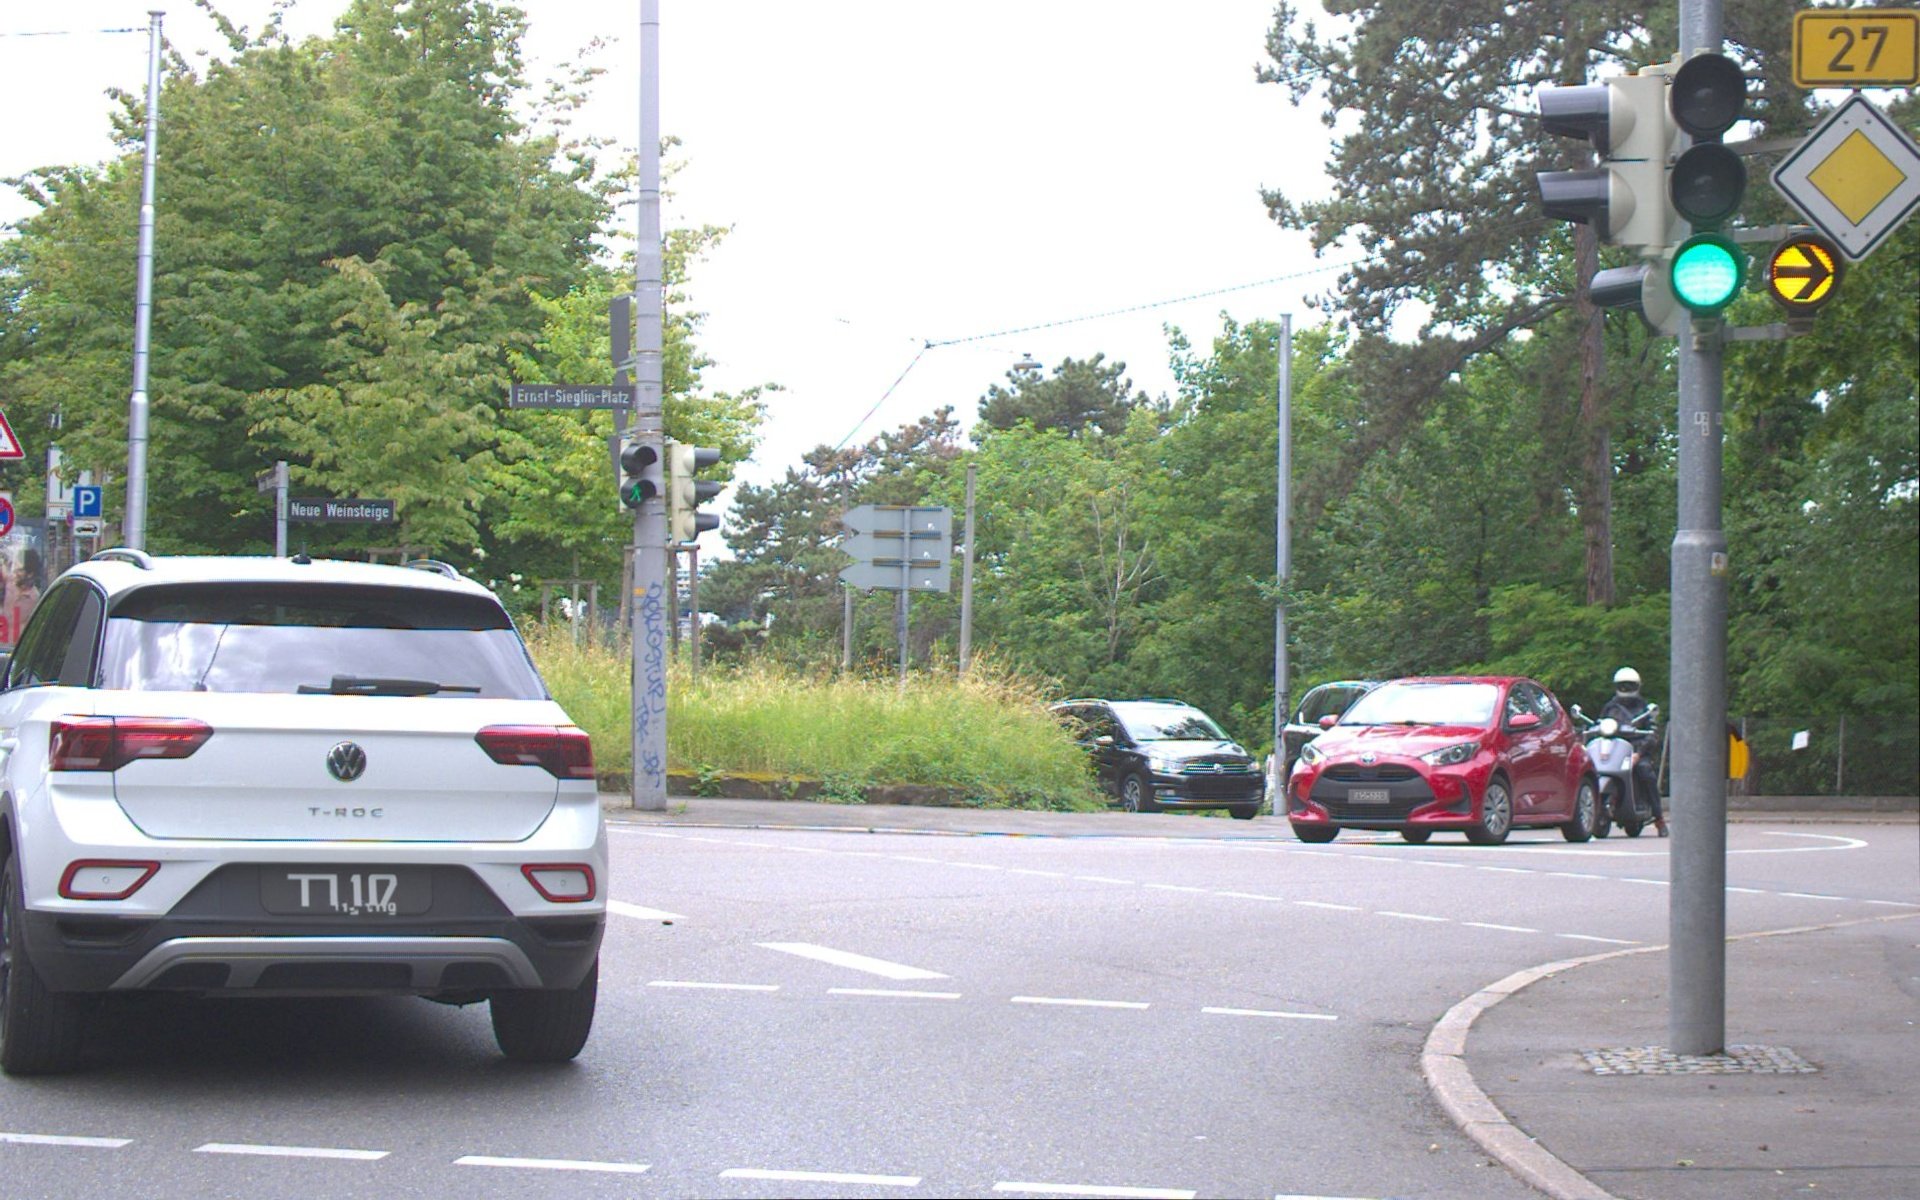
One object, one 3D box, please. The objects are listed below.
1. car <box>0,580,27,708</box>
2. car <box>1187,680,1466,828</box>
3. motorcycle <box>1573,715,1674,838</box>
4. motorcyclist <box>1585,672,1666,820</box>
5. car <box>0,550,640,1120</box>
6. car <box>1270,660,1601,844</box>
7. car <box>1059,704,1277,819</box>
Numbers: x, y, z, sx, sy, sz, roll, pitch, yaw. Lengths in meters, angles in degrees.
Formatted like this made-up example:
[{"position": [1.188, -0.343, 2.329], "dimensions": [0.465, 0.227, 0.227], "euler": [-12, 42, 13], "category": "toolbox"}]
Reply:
[{"position": [-13.984, 0.578, 48.528], "dimensions": [1.494, 1.743, 3.119], "euler": [2, 0, -15], "category": "car"}, {"position": [4.341, 1.875, 41.506], "dimensions": [1.813, 1.671, 4.679], "euler": [1, -3, -14], "category": "car"}, {"position": [6.449, 1.699, 33.371], "dimensions": [0.599, 1.148, 1.579], "euler": [-1, -2, 24], "category": "motorcycle"}, {"position": [6.481, 1.414, 33.456], "dimensions": [0.600, 1.425, 0.756], "euler": [-1, -2, 24], "category": "motorcyclist"}, {"position": [-2.536, 0.653, 11.659], "dimensions": [1.754, 1.547, 4.339], "euler": [2, 0, -21], "category": "car"}, {"position": [4.166, 1.324, 29.626], "dimensions": [1.670, 1.463, 3.949], "euler": [-1, -3, 26], "category": "car"}, {"position": [2.767, 2.188, 46.524], "dimensions": [1.716, 1.480, 4.000], "euler": [1, -3, -16], "category": "car"}]
